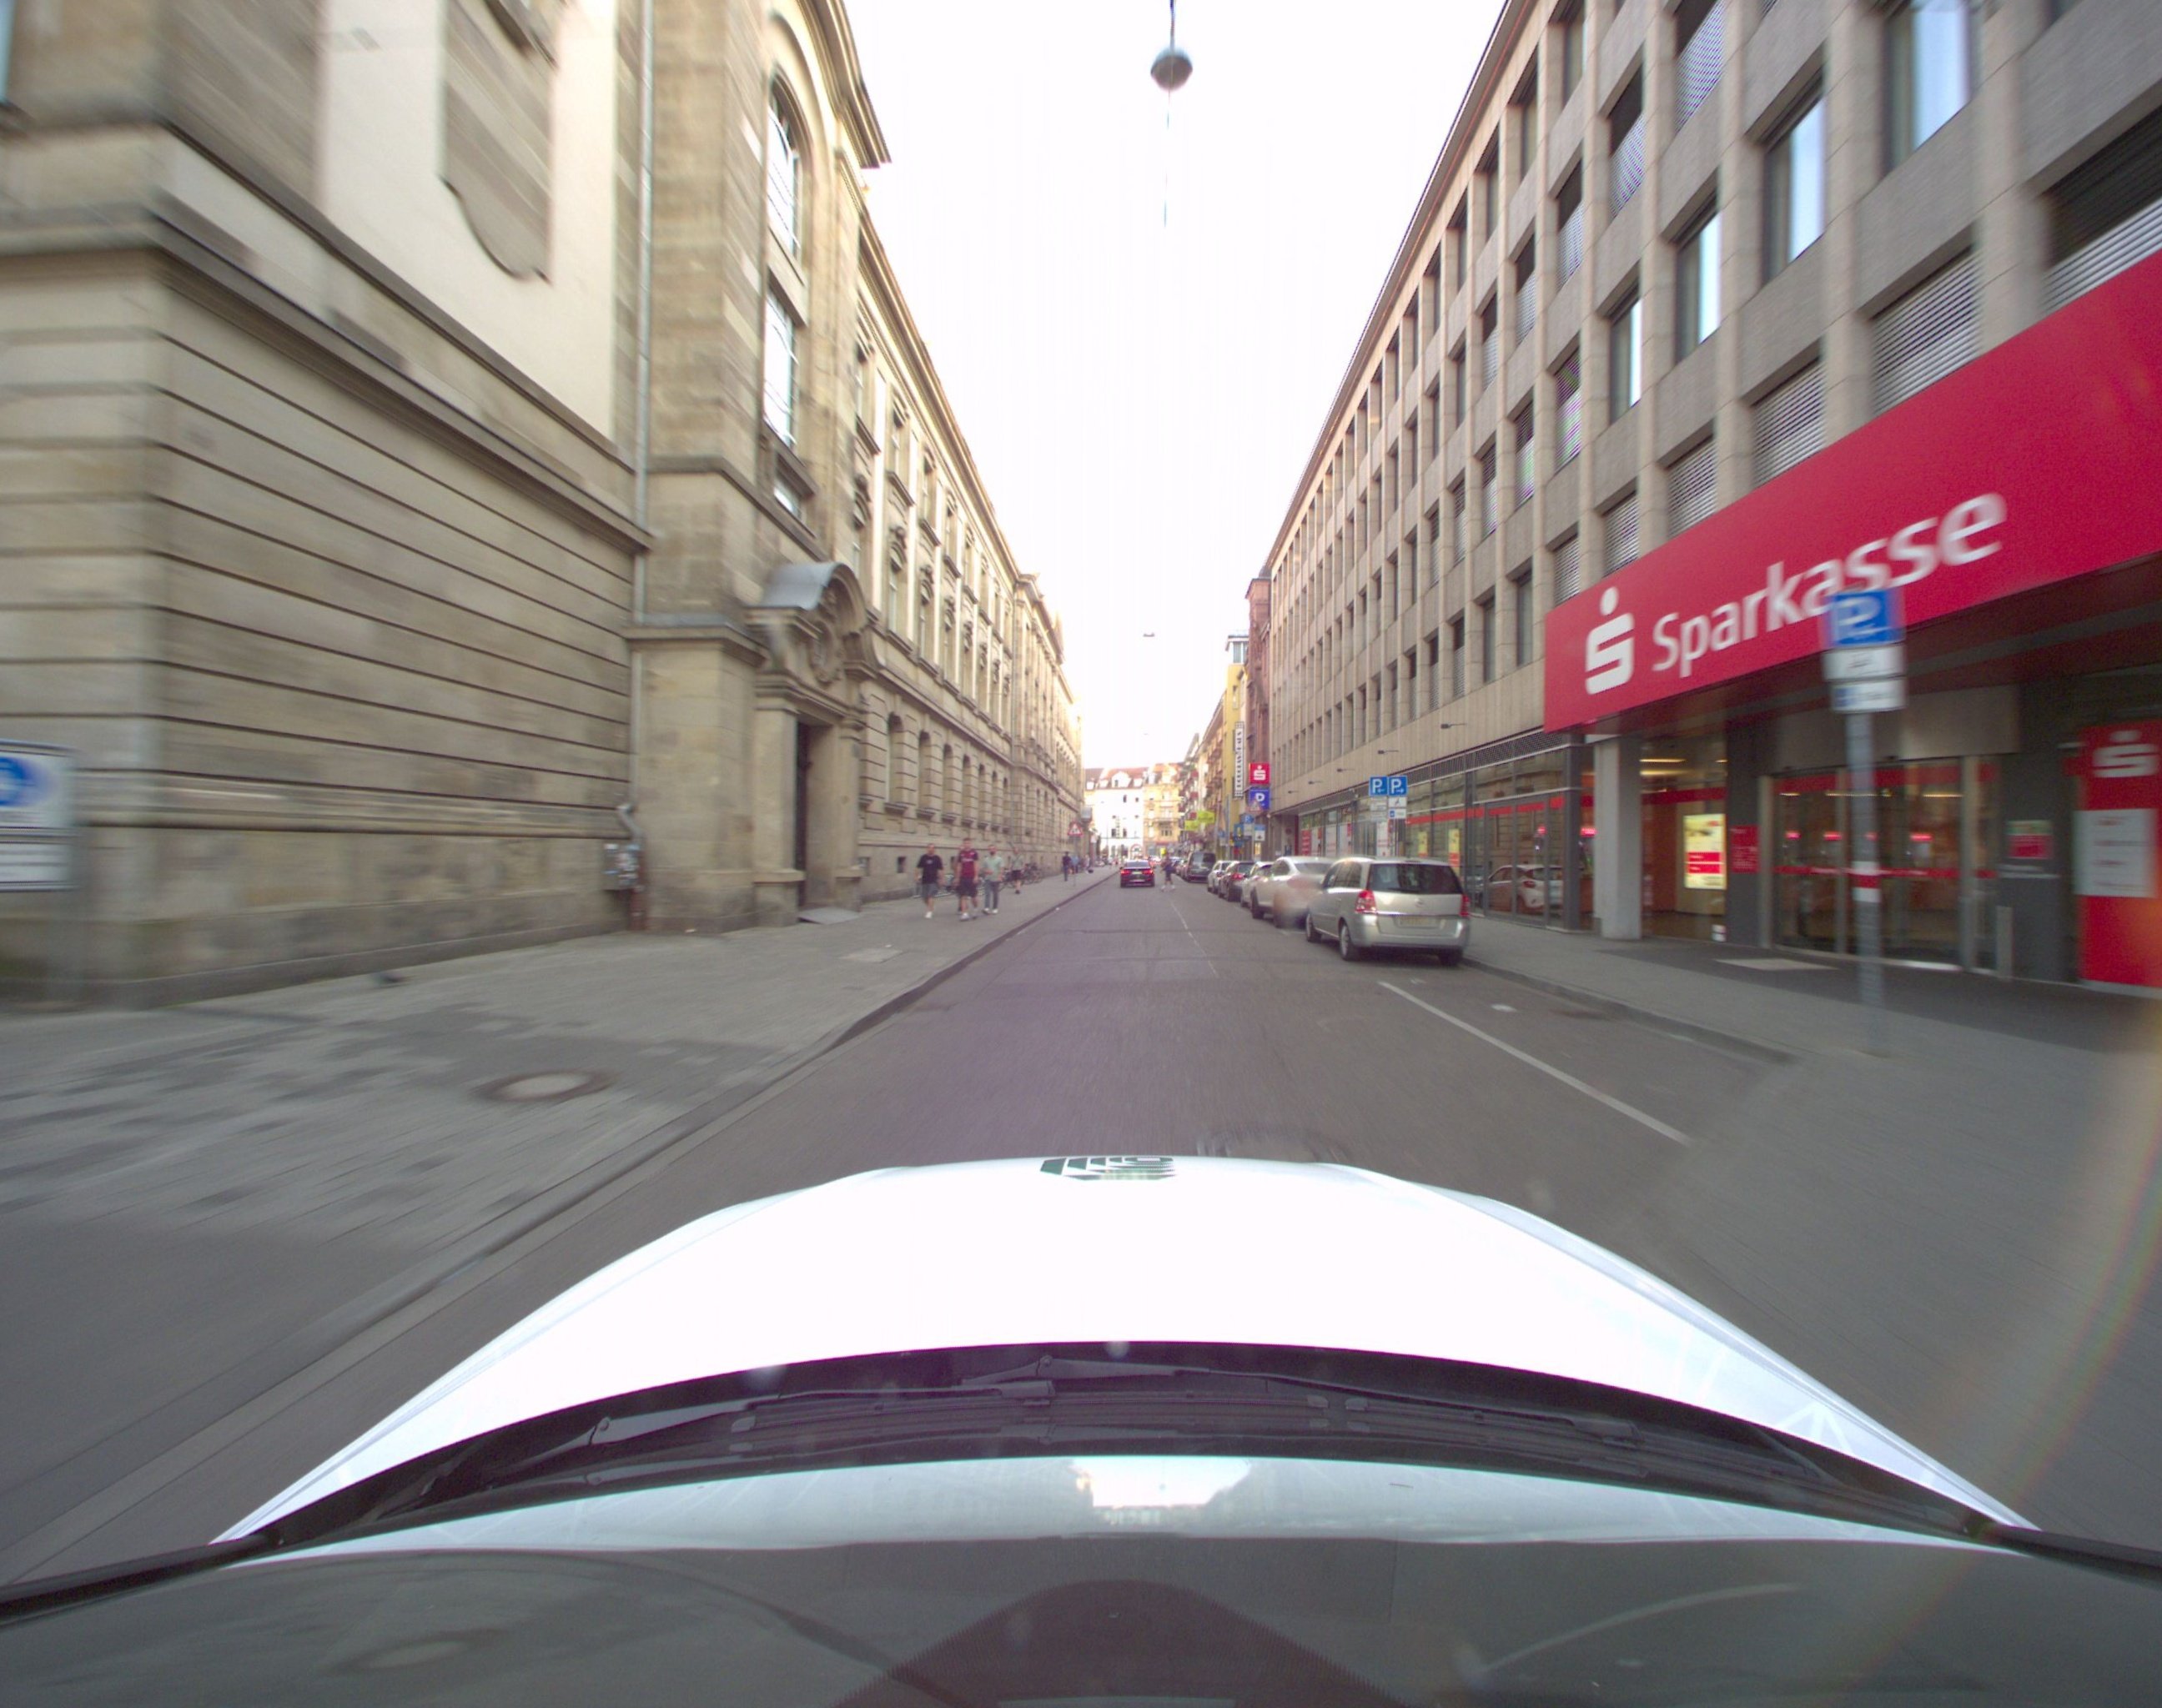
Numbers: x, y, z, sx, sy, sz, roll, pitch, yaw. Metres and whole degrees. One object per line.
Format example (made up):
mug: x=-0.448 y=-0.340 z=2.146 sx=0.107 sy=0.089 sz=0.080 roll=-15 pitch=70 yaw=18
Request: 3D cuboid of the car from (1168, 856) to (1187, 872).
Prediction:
car: x=9.824 y=1.041 z=83.004 sx=1.637 sy=1.523 sz=3.288 roll=2 pitch=0 yaw=4

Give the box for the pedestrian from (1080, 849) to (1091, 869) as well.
pedestrian: x=0.416 y=0.427 z=73.378 sx=0.804 sy=1.752 sz=0.937 roll=3 pitch=0 yaw=3

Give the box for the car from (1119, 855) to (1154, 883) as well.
car: x=2.957 y=0.795 z=43.510 sx=1.762 sy=1.409 sz=4.056 roll=-1 pitch=0 yaw=3

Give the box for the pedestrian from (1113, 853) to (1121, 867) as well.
pedestrian: x=4.659 y=0.739 z=106.179 sx=0.930 sy=1.752 sz=0.810 roll=3 pitch=0 yaw=1

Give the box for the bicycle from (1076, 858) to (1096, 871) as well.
bicycle: x=0.461 y=0.950 z=74.308 sx=1.672 sy=1.041 sz=0.488 roll=3 pitch=0 yaw=4

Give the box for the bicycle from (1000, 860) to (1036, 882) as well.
bicycle: x=-3.093 y=0.842 z=40.045 sx=1.673 sy=1.041 sz=0.487 roll=2 pitch=0 yaw=2

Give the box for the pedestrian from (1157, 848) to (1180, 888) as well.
pedestrian: x=3.959 y=0.627 z=37.014 sx=0.822 sy=1.791 sz=0.722 roll=0 pitch=0 yaw=-16

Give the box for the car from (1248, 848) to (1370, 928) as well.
car: x=5.232 y=0.720 z=19.256 sx=1.763 sy=1.636 sz=4.091 roll=2 pitch=0 yaw=1

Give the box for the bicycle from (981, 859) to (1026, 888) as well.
bicycle: x=-3.048 y=0.759 z=32.020 sx=1.673 sy=1.041 sz=0.487 roll=2 pitch=0 yaw=2

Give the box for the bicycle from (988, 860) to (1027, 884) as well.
bicycle: x=-3.313 y=0.808 z=36.708 sx=1.673 sy=1.041 sz=0.487 roll=2 pitch=0 yaw=2

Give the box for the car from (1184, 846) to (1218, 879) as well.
car: x=7.757 y=0.556 z=52.824 sx=1.862 sy=2.018 sz=3.769 roll=2 pitch=0 yaw=4

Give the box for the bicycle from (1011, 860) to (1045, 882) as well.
bicycle: x=-2.714 y=0.861 z=41.816 sx=1.673 sy=1.041 sz=0.487 roll=2 pitch=0 yaw=2

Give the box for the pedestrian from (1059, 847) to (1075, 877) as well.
pedestrian: x=-0.844 y=0.465 z=48.682 sx=0.801 sy=1.752 sz=0.810 roll=3 pitch=0 yaw=1

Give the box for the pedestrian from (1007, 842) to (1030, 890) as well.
pedestrian: x=-2.379 y=0.459 z=31.027 sx=0.716 sy=1.752 sz=0.669 roll=3 pitch=0 yaw=1

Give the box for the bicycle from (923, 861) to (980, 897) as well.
bicycle: x=-4.079 y=0.786 z=25.691 sx=1.669 sy=1.041 sz=0.488 roll=2 pitch=0 yaw=9

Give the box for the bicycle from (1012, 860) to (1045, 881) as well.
bicycle: x=-2.722 y=0.865 z=42.281 sx=1.673 sy=1.041 sz=0.487 roll=2 pitch=0 yaw=2

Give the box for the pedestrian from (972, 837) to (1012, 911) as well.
pedestrian: x=-2.190 y=0.482 z=20.208 sx=0.784 sy=1.752 sz=0.722 roll=3 pitch=0 yaw=1

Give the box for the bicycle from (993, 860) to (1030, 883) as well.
bicycle: x=-3.252 y=0.817 z=38.143 sx=1.673 sy=1.041 sz=0.487 roll=2 pitch=0 yaw=2

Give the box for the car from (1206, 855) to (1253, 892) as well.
car: x=6.561 y=0.814 z=36.211 sx=1.637 sy=1.523 sz=3.288 roll=2 pitch=0 yaw=4

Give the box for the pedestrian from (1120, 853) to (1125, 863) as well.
pedestrian: x=7.176 y=0.739 z=140.531 sx=0.663 sy=1.752 sz=0.681 roll=3 pitch=0 yaw=1

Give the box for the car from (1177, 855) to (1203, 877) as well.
car: x=8.033 y=0.842 z=60.408 sx=1.637 sy=1.523 sz=3.288 roll=2 pitch=0 yaw=4

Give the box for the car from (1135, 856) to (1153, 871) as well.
car: x=6.485 y=0.929 z=84.363 sx=1.787 sy=1.510 sz=4.003 roll=0 pitch=0 yaw=3

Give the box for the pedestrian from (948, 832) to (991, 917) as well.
pedestrian: x=-2.481 y=0.448 z=18.215 sx=0.695 sy=1.812 sz=0.975 roll=3 pitch=0 yaw=2

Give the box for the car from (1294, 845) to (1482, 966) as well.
car: x=4.847 y=0.725 z=13.484 sx=1.762 sy=1.636 sz=4.056 roll=2 pitch=0 yaw=3

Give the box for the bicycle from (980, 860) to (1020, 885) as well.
bicycle: x=-3.524 y=0.795 z=35.447 sx=1.673 sy=1.041 sz=0.487 roll=2 pitch=0 yaw=2

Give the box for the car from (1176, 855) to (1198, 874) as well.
car: x=9.187 y=0.912 z=70.858 sx=1.637 sy=1.523 sz=3.288 roll=2 pitch=0 yaw=4

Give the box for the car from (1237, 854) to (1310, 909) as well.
car: x=5.851 y=0.791 z=25.125 sx=1.637 sy=1.523 sz=3.288 roll=2 pitch=0 yaw=4

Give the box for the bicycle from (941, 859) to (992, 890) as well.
bicycle: x=-4.017 y=0.723 z=28.528 sx=1.681 sy=1.041 sz=0.485 roll=2 pitch=0 yaw=-14

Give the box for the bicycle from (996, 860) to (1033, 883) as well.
bicycle: x=-3.173 y=0.823 z=38.809 sx=1.673 sy=1.041 sz=0.487 roll=2 pitch=0 yaw=2

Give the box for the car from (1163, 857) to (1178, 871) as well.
car: x=10.676 y=1.172 z=97.311 sx=1.637 sy=1.523 sz=3.288 roll=2 pitch=0 yaw=4

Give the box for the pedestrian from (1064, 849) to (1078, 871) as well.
pedestrian: x=-0.713 y=0.452 z=61.119 sx=0.930 sy=1.636 sz=0.654 roll=3 pitch=0 yaw=1

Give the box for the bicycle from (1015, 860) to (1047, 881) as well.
bicycle: x=-2.669 y=0.879 z=43.568 sx=1.673 sy=1.041 sz=0.487 roll=2 pitch=0 yaw=2

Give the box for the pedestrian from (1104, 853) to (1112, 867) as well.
pedestrian: x=3.520 y=0.726 z=105.709 sx=0.930 sy=1.752 sz=0.810 roll=3 pitch=0 yaw=1

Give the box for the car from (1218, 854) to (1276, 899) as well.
car: x=6.067 y=0.799 z=30.128 sx=1.637 sy=1.523 sz=3.288 roll=2 pitch=0 yaw=4

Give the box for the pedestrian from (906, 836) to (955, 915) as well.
pedestrian: x=-3.352 y=0.473 z=18.225 sx=0.794 sy=1.675 sz=0.975 roll=3 pitch=0 yaw=2

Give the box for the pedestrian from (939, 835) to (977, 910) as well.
pedestrian: x=-2.975 y=0.437 z=19.796 sx=0.686 sy=1.752 sz=0.722 roll=3 pitch=0 yaw=1

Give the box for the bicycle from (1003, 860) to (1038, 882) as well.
bicycle: x=-3.000 y=0.847 z=40.496 sx=1.673 sy=1.041 sz=0.487 roll=2 pitch=0 yaw=2
